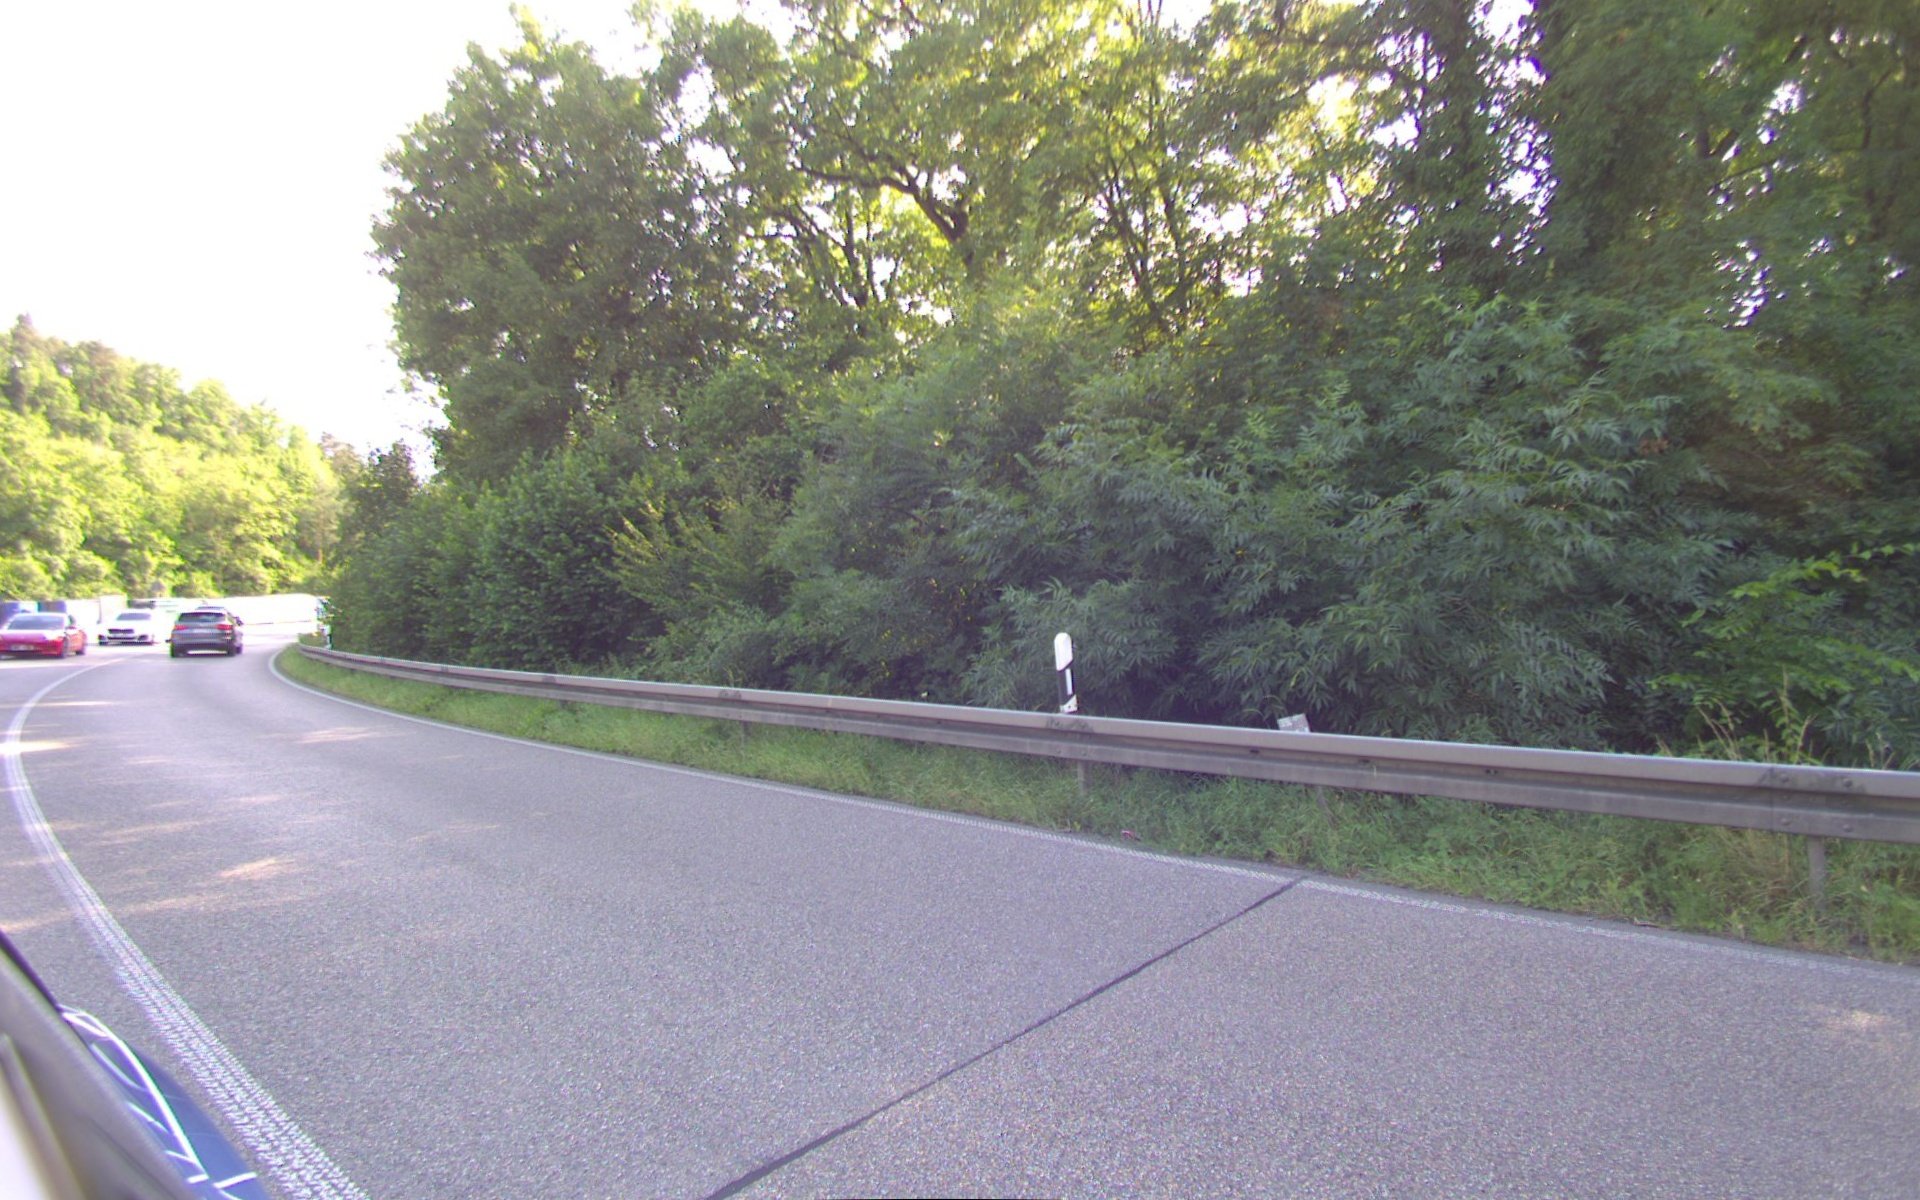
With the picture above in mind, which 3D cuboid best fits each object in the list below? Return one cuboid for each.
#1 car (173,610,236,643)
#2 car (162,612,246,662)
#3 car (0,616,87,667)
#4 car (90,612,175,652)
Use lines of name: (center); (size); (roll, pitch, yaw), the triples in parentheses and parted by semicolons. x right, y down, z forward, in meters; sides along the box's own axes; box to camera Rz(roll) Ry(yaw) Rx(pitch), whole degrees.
car: (-40.880, 1.394, 54.870); (1.829, 1.608, 4.552); (-3, 1, -25)
car: (-25.986, 1.261, 34.908); (1.841, 1.577, 4.012); (-1, -2, -30)
car: (-29.802, 1.290, 32.670); (1.830, 1.431, 4.431); (-3, 1, -34)
car: (-35.536, 1.319, 43.601); (1.884, 1.476, 4.552); (-3, 1, -28)
